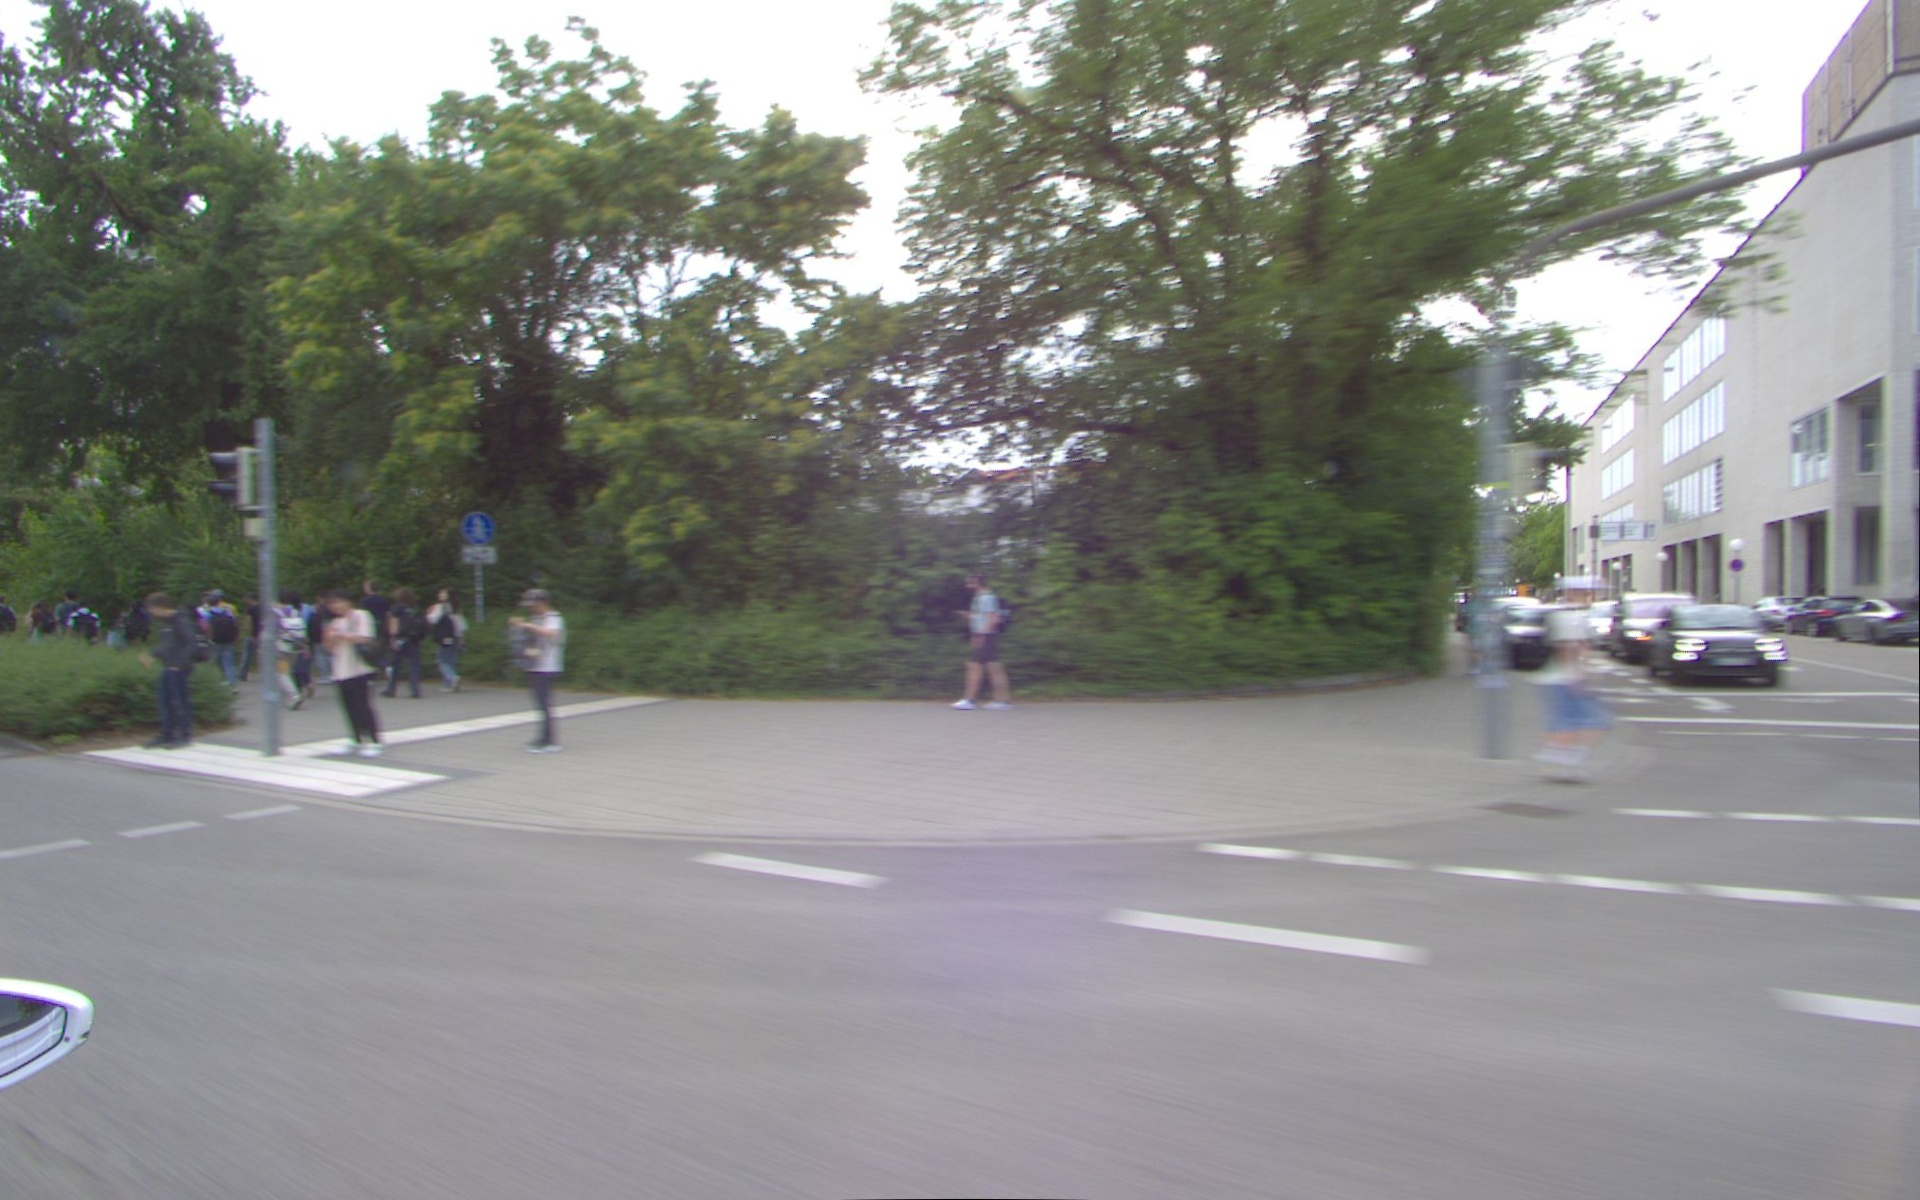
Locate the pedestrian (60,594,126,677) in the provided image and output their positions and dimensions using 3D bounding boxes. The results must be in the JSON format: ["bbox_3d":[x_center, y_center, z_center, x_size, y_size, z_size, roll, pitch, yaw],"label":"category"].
[{"bbox_3d":[-17.558,0.704,20.280,0.800,1.624,0.774,0,1,30],"label":"pedestrian"}]

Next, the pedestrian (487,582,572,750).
[{"bbox_3d":[-4.544,0.678,10.587,0.627,1.709,0.545,0,0,28],"label":"pedestrian"}]

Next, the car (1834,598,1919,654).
[{"bbox_3d":[29.116,0.799,31.137,1.785,1.588,4.214,3,1,26],"label":"car"}]

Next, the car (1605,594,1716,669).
[{"bbox_3d":[17.308,0.747,24.921,1.657,1.714,4.279,-1,-1,27],"label":"car"}]

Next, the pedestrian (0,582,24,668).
[{"bbox_3d":[-21.021,0.549,21.788,0.940,1.845,0.692,0,1,30],"label":"pedestrian"}]

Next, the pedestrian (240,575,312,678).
[{"bbox_3d":[-12.239,0.460,17.918,0.943,1.790,0.656,0,1,28],"label":"pedestrian"}]

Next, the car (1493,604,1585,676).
[{"bbox_3d":[13.789,0.883,24.022,1.522,1.498,4.093,3,1,26],"label":"car"}]

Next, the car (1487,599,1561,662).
[{"bbox_3d":[15.746,0.793,28.099,1.544,1.625,3.886,1,0,26],"label":"car"}]

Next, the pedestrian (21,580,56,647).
[{"bbox_3d":[-23.072,0.344,25.068,0.643,1.655,0.467,0,1,30],"label":"pedestrian"}]

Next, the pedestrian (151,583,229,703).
[{"bbox_3d":[-11.683,0.635,15.203,0.768,1.768,0.656,0,1,28],"label":"pedestrian"}]

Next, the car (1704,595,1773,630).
[{"bbox_3d":[36.372,0.587,46.894,1.725,1.587,3.975,-1,-1,26],"label":"car"}]

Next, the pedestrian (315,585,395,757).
[{"bbox_3d":[-6.406,0.730,10.603,0.627,1.758,0.453,0,1,28],"label":"pedestrian"}]

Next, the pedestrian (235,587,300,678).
[{"bbox_3d":[-13.329,0.613,19.280,0.956,1.689,0.656,0,1,28],"label":"pedestrian"}]

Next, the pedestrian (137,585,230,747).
[{"bbox_3d":[-8.764,0.724,11.307,0.644,1.758,0.601,0,0,27],"label":"pedestrian"}]

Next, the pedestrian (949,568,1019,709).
[{"bbox_3d":[0.323,0.503,13.376,0.728,1.819,0.644,0,0,28],"label":"pedestrian"}]

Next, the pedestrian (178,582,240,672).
[{"bbox_3d":[-15.172,0.528,20.232,0.800,1.768,0.720,0,1,30],"label":"pedestrian"}]

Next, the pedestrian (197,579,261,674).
[{"bbox_3d":[-13.592,0.481,18.628,0.829,1.712,0.656,0,1,28],"label":"pedestrian"}]

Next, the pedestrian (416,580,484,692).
[{"bbox_3d":[-8.347,0.575,16.390,0.768,1.768,0.656,0,1,28],"label":"pedestrian"}]

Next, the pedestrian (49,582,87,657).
[{"bbox_3d":[-21.412,0.465,24.032,0.654,1.787,0.483,0,1,30],"label":"pedestrian"}]

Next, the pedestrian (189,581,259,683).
[{"bbox_3d":[-12.363,0.526,16.824,0.799,1.670,0.656,0,1,28],"label":"pedestrian"}]

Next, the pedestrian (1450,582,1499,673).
[{"bbox_3d":[10.838,0.580,21.123,0.718,1.876,0.800,0,0,10],"label":"pedestrian"}]

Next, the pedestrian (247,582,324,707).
[{"bbox_3d":[-9.846,0.633,14.618,0.768,1.768,0.623,0,1,28],"label":"pedestrian"}]

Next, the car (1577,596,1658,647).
[{"bbox_3d":[20.140,0.645,30.810,1.657,1.461,3.770,-1,-1,27],"label":"car"}]

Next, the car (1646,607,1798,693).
[{"bbox_3d":[14.356,0.885,19.065,1.657,1.461,3.569,-1,-1,27],"label":"car"}]

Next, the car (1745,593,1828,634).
[{"bbox_3d":[33.975,0.560,41.261,1.725,1.587,3.975,-1,-1,26],"label":"car"}]

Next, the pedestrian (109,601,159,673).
[{"bbox_3d":[-18.880,0.828,22.894,0.773,1.605,0.634,0,1,30],"label":"pedestrian"}]

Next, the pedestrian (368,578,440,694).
[{"bbox_3d":[-8.729,0.558,15.735,0.768,1.768,0.656,0,1,28],"label":"pedestrian"}]

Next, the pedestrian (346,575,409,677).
[{"bbox_3d":[-10.434,0.457,17.946,0.768,1.768,0.656,0,1,28],"label":"pedestrian"}]

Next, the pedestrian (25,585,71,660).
[{"bbox_3d":[-20.842,0.511,22.876,0.742,1.677,0.555,0,1,30],"label":"pedestrian"}]

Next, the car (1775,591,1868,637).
[{"bbox_3d":[31.857,0.528,37.143,1.648,1.587,3.975,-1,-1,26],"label":"car"}]

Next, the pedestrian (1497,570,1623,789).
[{"bbox_3d":[5.365,0.690,9.005,0.814,1.876,0.646,0,-1,16],"label":"pedestrian"}]

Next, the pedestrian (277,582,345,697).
[{"bbox_3d":[-10.263,0.615,15.843,0.777,1.768,0.580,0,1,28],"label":"pedestrian"}]

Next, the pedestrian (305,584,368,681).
[{"bbox_3d":[-11.382,0.580,18.283,0.768,1.722,0.656,0,1,28],"label":"pedestrian"}]

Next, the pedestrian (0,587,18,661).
[{"bbox_3d":[-23.126,0.571,23.970,0.802,1.758,0.618,0,1,30],"label":"pedestrian"}]

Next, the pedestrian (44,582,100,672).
[{"bbox_3d":[-18.678,0.551,21.064,0.800,1.845,0.655,0,1,30],"label":"pedestrian"}]
